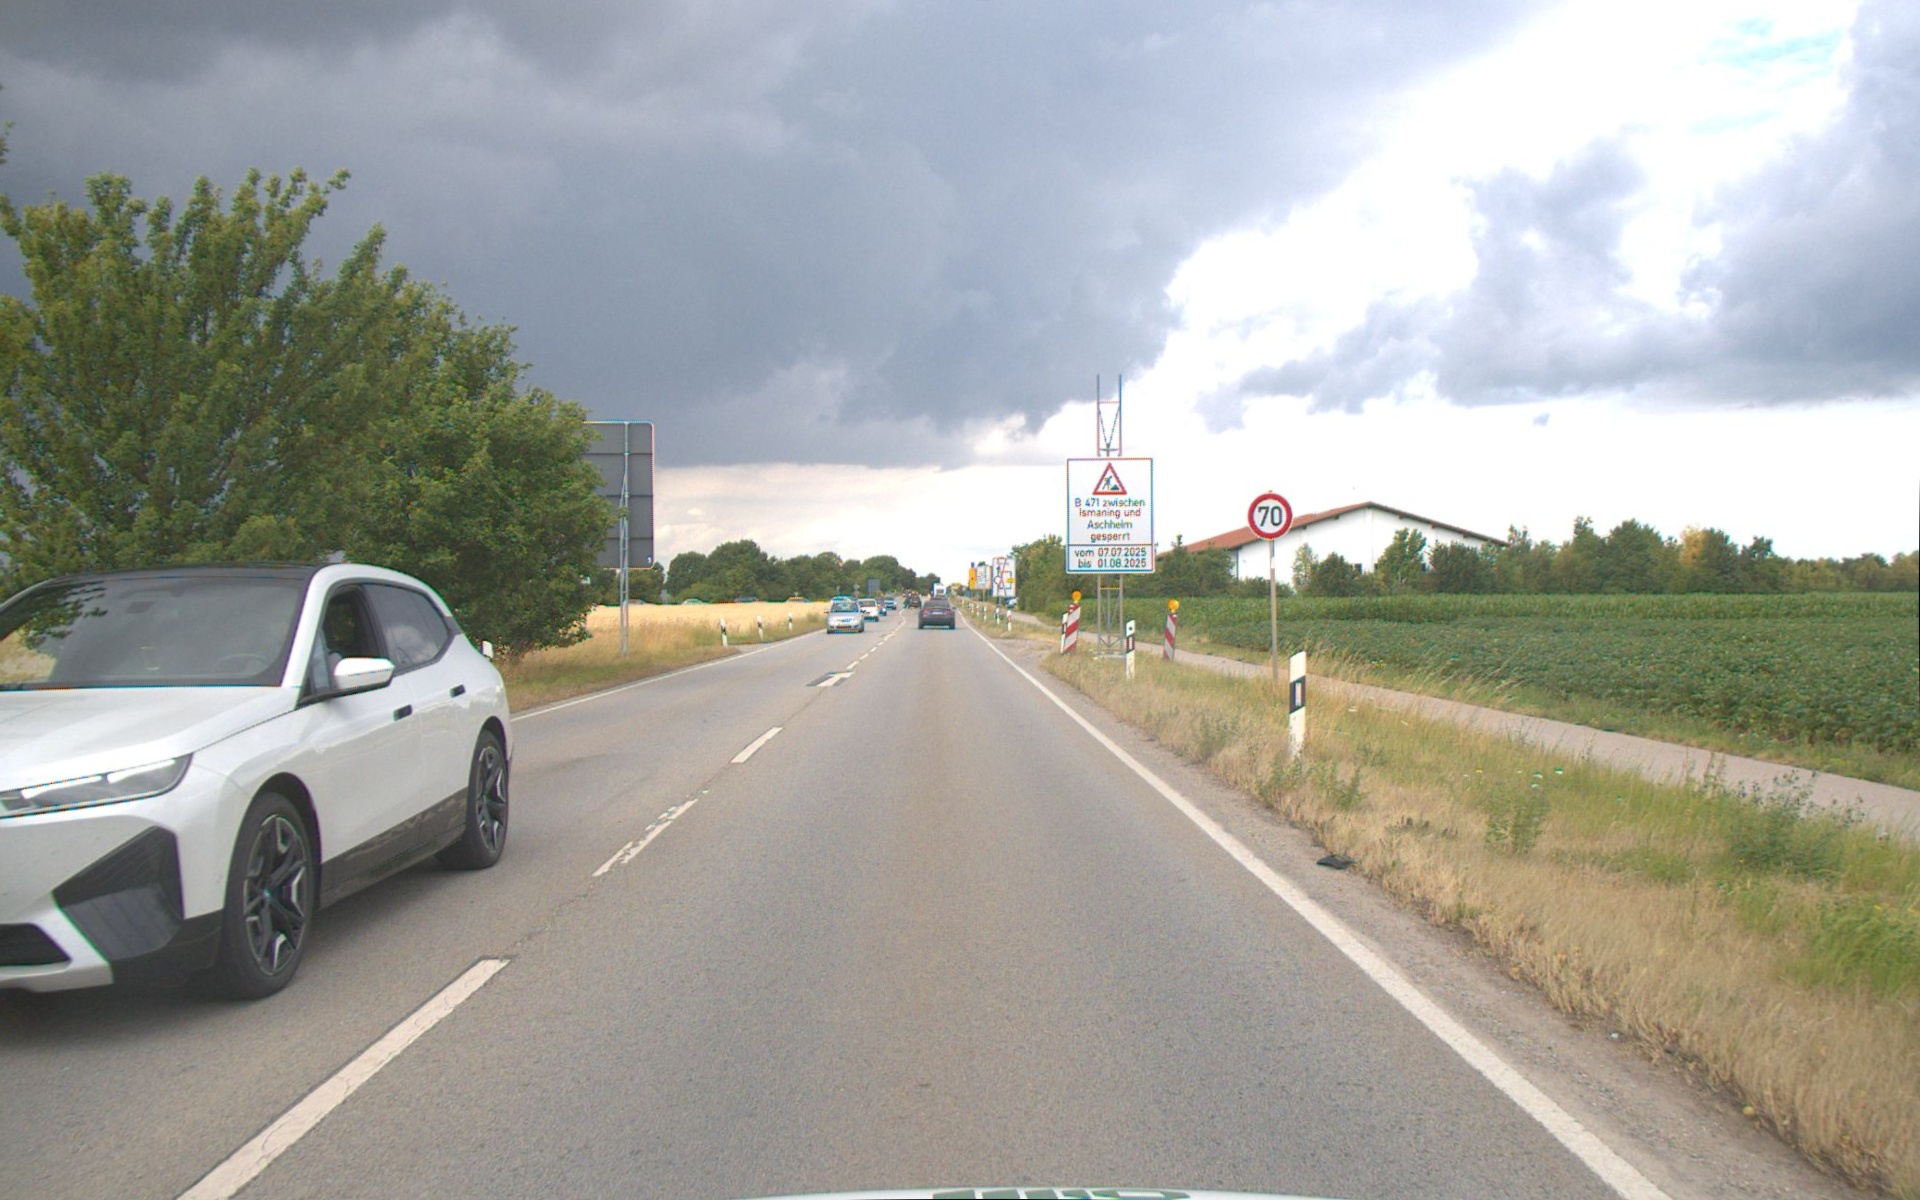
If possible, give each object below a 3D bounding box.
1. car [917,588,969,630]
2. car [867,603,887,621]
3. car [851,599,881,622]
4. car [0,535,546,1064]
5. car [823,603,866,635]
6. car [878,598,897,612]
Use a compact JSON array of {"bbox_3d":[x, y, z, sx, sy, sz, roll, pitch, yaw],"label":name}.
[{"bbox_3d":[-0.879,0.454,82.088,2.325,1.913,4.475,-2,0,-3],"label":"car"},{"bbox_3d":[-7.573,1.066,150.837,1.677,1.514,4.607,-1,0,-1],"label":"car"},{"bbox_3d":[-6.347,0.700,111.968,1.769,1.482,4.112,-1,0,-1],"label":"car"},{"bbox_3d":[-3.516,0.655,7.799,1.953,1.713,4.808,-1,0,-1],"label":"car"},{"bbox_3d":[-5.203,0.830,74.881,1.693,1.387,3.949,-1,0,-1],"label":"car"},{"bbox_3d":[-8.703,0.575,198.383,2.023,1.608,4.764,-2,0,-1],"label":"car"}]
